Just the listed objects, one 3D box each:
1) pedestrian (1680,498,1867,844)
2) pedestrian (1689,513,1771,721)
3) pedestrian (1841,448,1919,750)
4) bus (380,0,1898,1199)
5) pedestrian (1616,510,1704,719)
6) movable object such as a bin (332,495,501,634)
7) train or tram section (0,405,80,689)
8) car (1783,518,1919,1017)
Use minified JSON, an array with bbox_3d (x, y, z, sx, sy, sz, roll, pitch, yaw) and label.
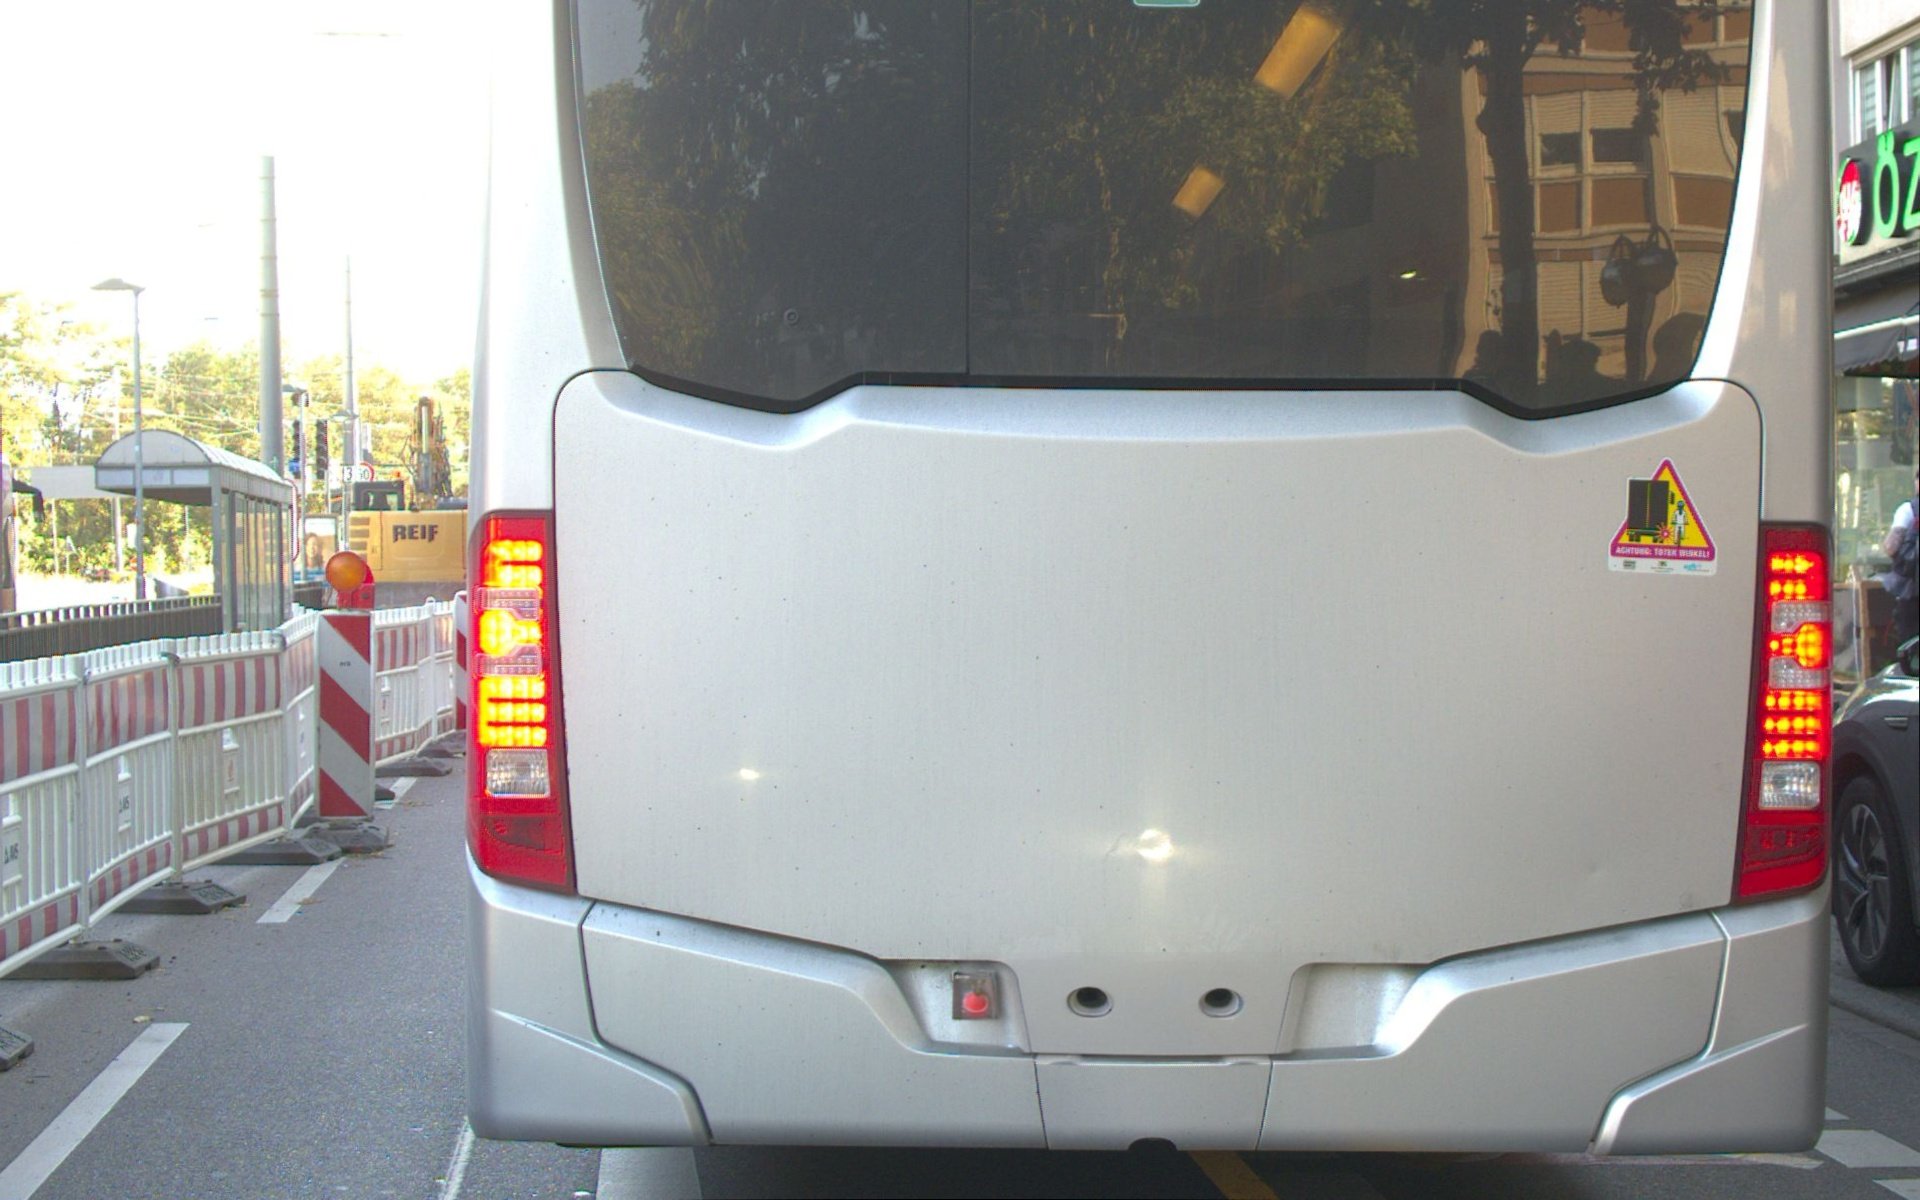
[{"bbox_3d":[4.145,0.353,17.551,0.752,1.720,0.661,-1,0,-3],"label":"pedestrian"},{"bbox_3d":[7.528,0.158,33.625,0.612,2.007,0.696,-1,0,-1],"label":"pedestrian"},{"bbox_3d":[6.514,-0.020,23.345,0.769,2.007,0.714,-2,0,-4],"label":"pedestrian"},{"bbox_3d":[0.288,-0.265,11.060,2.608,3.159,10.292,0,1,0],"label":"bus"},{"bbox_3d":[6.835,0.136,33.590,0.691,2.007,0.696,-1,0,-1],"label":"pedestrian"},{"bbox_3d":[-9.982,-0.661,63.493,2.806,2.453,4.001,-1,1,-5],"label":"movable object such as a bin"},{"bbox_3d":[-13.283,-0.655,43.217,2.816,3.475,10.341,0,1,-6],"label":"train or tram section"},{"bbox_3d":[4.003,0.511,10.072,1.739,1.592,4.300,-3,1,-5],"label":"car"}]
